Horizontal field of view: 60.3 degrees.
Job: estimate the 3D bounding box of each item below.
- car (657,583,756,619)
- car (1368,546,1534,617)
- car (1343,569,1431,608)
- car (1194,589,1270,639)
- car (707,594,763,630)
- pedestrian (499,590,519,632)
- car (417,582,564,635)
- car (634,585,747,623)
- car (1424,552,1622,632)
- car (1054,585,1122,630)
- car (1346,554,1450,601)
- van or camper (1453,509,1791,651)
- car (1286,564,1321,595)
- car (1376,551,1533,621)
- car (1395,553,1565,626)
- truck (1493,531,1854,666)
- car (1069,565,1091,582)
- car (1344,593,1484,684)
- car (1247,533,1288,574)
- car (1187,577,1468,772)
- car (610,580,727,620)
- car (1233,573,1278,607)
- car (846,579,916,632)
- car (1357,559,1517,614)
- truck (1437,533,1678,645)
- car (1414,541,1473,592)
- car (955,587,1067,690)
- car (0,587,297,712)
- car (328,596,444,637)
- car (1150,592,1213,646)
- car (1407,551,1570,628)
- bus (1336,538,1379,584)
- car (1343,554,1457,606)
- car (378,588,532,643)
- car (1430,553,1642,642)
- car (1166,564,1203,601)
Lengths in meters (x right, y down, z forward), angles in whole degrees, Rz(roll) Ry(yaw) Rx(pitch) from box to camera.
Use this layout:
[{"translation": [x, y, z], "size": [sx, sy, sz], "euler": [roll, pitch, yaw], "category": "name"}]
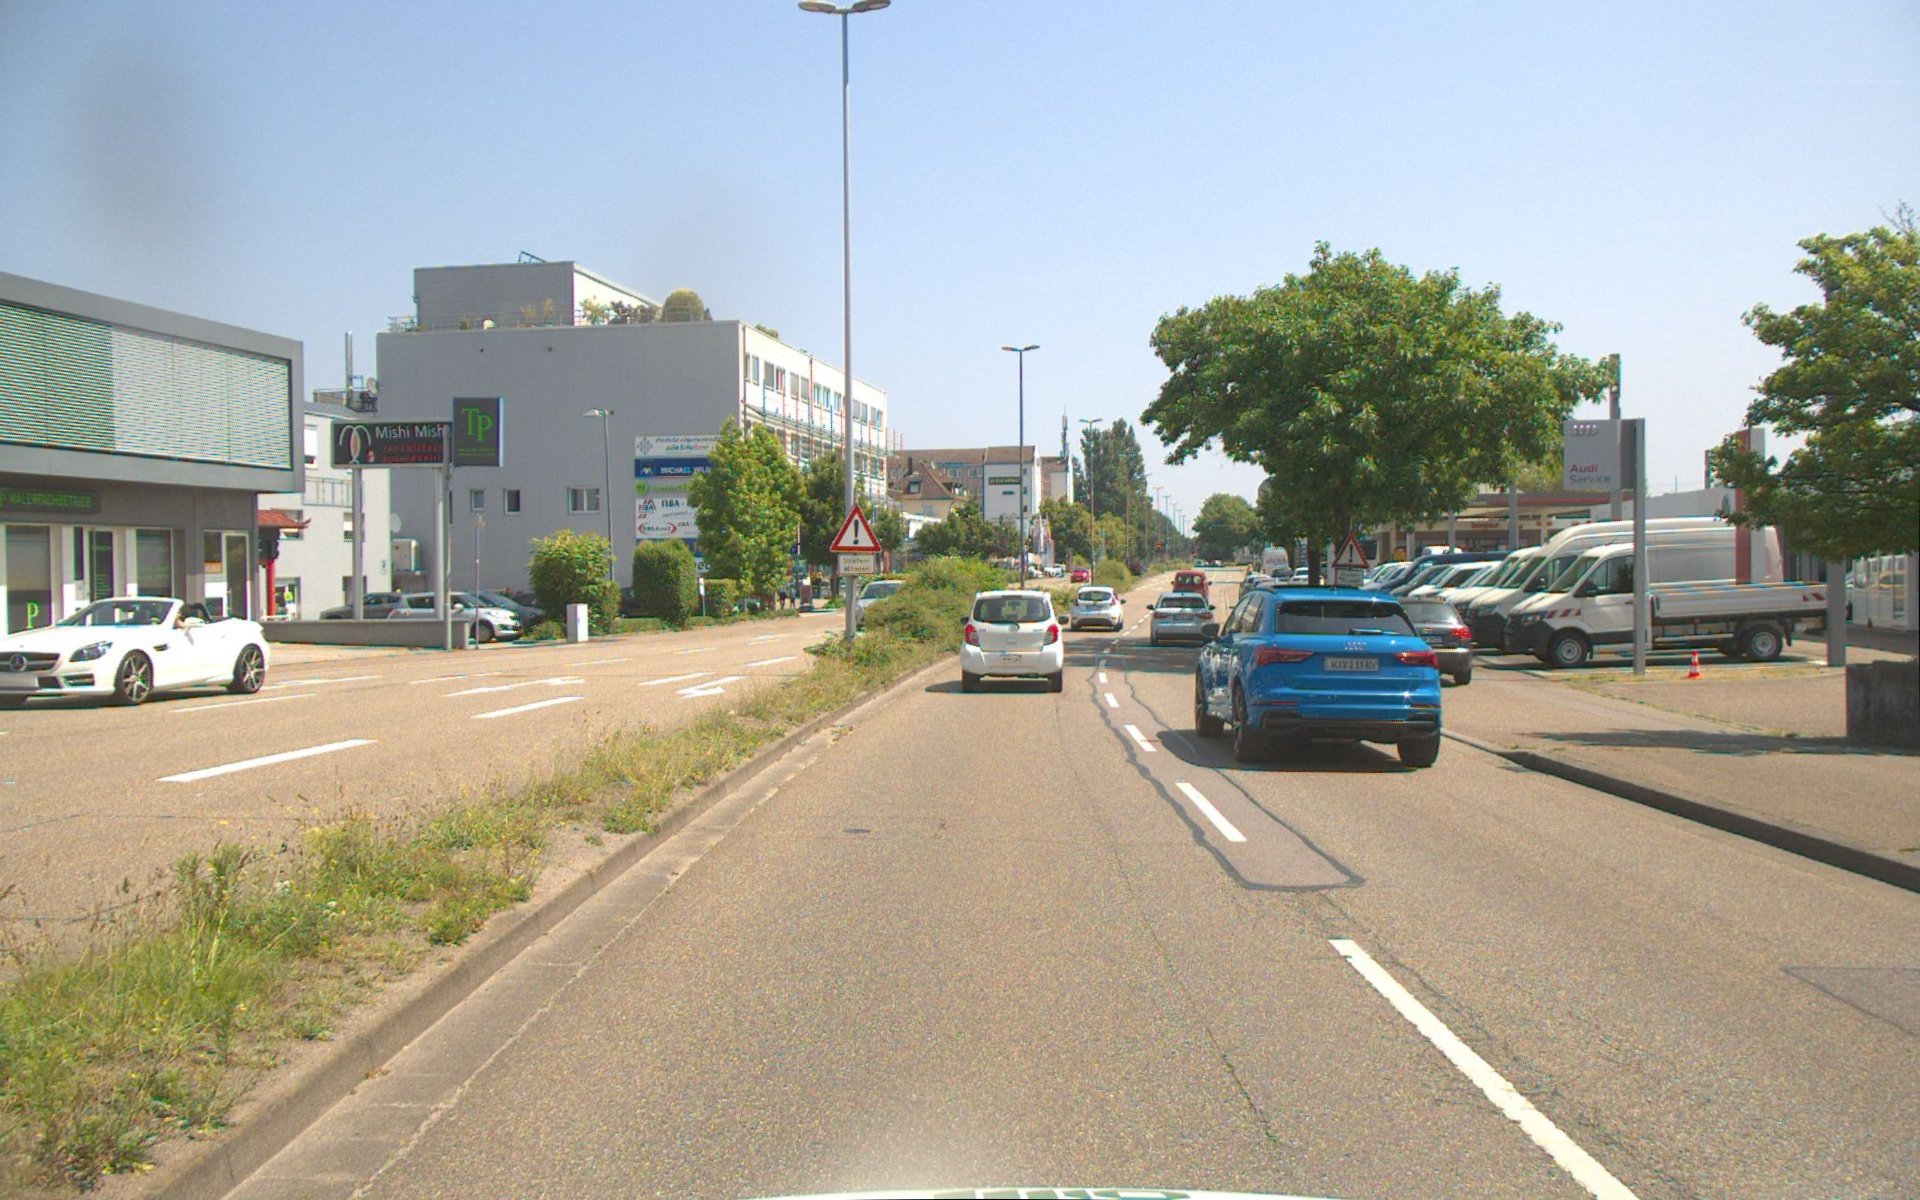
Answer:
[{"translation": [-10.770, 0.049, 70.346], "size": [3.756, 1.357, 1.861], "euler": [-2, 1, 8], "category": "car"}, {"translation": [18.216, -0.686, 61.587], "size": [5.718, 2.568, 2.206], "euler": [1, 0, 11], "category": "car"}, {"translation": [18.081, -0.502, 70.038], "size": [3.553, 1.598, 1.718], "euler": [1, 1, 14], "category": "car"}, {"translation": [8.624, 0.419, 52.702], "size": [1.647, 1.460, 4.439], "euler": [-2, 1, 0], "category": "car"}, {"translation": [-10.704, 0.562, 78.917], "size": [1.624, 1.492, 3.801], "euler": [-3, 1, 8], "category": "car"}, {"translation": [-18.071, 0.445, 66.312], "size": [0.534, 1.686, 0.625], "euler": [1, -1, 7], "category": "pedestrian"}, {"translation": [-14.227, 0.253, 50.204], "size": [3.911, 1.395, 1.671], "euler": [-2, 2, 11], "category": "car"}, {"translation": [-11.047, 0.167, 67.864], "size": [4.133, 1.372, 1.982], "euler": [-2, 1, 8], "category": "car"}, {"translation": [15.411, -0.216, 45.531], "size": [4.808, 2.005, 2.144], "euler": [-2, 0, 9], "category": "car"}, {"translation": [4.316, 0.237, 56.300], "size": [1.793, 1.475, 3.998], "euler": [1, 0, -3], "category": "car"}, {"translation": [18.828, -0.948, 71.183], "size": [4.062, 1.812, 1.883], "euler": [-2, -1, 8], "category": "car"}, {"translation": [14.720, -0.441, 37.184], "size": [6.651, 2.948, 2.277], "euler": [-1, 1, 8], "category": "van or camper"}, {"translation": [19.430, -1.175, 93.788], "size": [1.631, 1.623, 4.617], "euler": [-2, 1, 8], "category": "car"}, {"translation": [16.865, -0.484, 56.605], "size": [4.795, 2.151, 2.131], "euler": [-2, 1, 8], "category": "car"}, {"translation": [16.952, -0.349, 54.117], "size": [4.957, 2.133, 2.042], "euler": [-3, 0, 8], "category": "car"}, {"translation": [13.923, -0.043, 32.705], "size": [6.112, 2.377, 2.371], "euler": [-2, 1, 10], "category": "truck"}, {"translation": [11.228, -2.491, 154.780], "size": [1.596, 1.448, 3.454], "euler": [-4, 0, 10], "category": "car"}, {"translation": [7.934, 0.619, 29.249], "size": [1.759, 1.430, 4.323], "euler": [1, 1, 7], "category": "car"}, {"translation": [23.240, -3.467, 125.176], "size": [2.088, 2.888, 7.313], "euler": [-3, 0, 4], "category": "car"}, {"translation": [3.435, 0.627, 16.311], "size": [1.873, 1.625, 4.396], "euler": [-1, 0, 1], "category": "car"}, {"translation": [-11.428, -0.007, 65.069], "size": [4.060, 1.365, 2.044], "euler": [-2, 1, 6], "category": "car"}, {"translation": [14.436, -0.527, 80.882], "size": [1.696, 1.579, 4.183], "euler": [0, 1, 4], "category": "car"}, {"translation": [-2.592, 0.158, 55.357], "size": [1.743, 1.657, 4.342], "euler": [-2, 0, 5], "category": "car"}, {"translation": [18.485, -0.550, 64.367], "size": [5.767, 2.049, 2.261], "euler": [1, 1, 11], "category": "car"}, {"translation": [14.383, -0.265, 40.109], "size": [5.135, 2.478, 2.113], "euler": [-2, 1, 10], "category": "truck"}, {"translation": [27.078, -1.913, 92.817], "size": [2.208, 2.722, 7.024], "euler": [-1, 1, 9], "category": "car"}, {"translation": [0.860, 0.599, 26.580], "size": [1.676, 1.537, 3.248], "euler": [1, -1, 3], "category": "car"}, {"translation": [-10.257, 0.546, 20.627], "size": [1.766, 1.378, 4.359], "euler": [0, 0, 7], "category": "car"}, {"translation": [-22.913, 0.640, 66.097], "size": [3.888, 1.493, 1.965], "euler": [-1, 1, 3], "category": "car"}, {"translation": [6.078, 0.498, 45.350], "size": [1.631, 1.424, 3.796], "euler": [0, 0, 8], "category": "car"}, {"translation": [16.263, -0.313, 51.115], "size": [4.413, 2.049, 2.200], "euler": [-4, -1, 9], "category": "car"}, {"translation": [28.579, -2.892, 119.223], "size": [2.744, 3.132, 12.298], "euler": [0, 2, 12], "category": "bus"}, {"translation": [19.244, -0.871, 72.572], "size": [4.541, 2.048, 1.962], "euler": [-2, 1, 7], "category": "car"}, {"translation": [-14.462, 0.452, 47.455], "size": [3.903, 1.484, 1.576], "euler": [-1, -1, 4], "category": "car"}, {"translation": [14.845, -0.078, 42.881], "size": [4.843, 2.150, 2.161], "euler": [-1, 1, 7], "category": "car"}, {"translation": [11.227, -0.861, 82.871], "size": [1.756, 1.759, 3.976], "euler": [1, 0, 7], "category": "car"}]
